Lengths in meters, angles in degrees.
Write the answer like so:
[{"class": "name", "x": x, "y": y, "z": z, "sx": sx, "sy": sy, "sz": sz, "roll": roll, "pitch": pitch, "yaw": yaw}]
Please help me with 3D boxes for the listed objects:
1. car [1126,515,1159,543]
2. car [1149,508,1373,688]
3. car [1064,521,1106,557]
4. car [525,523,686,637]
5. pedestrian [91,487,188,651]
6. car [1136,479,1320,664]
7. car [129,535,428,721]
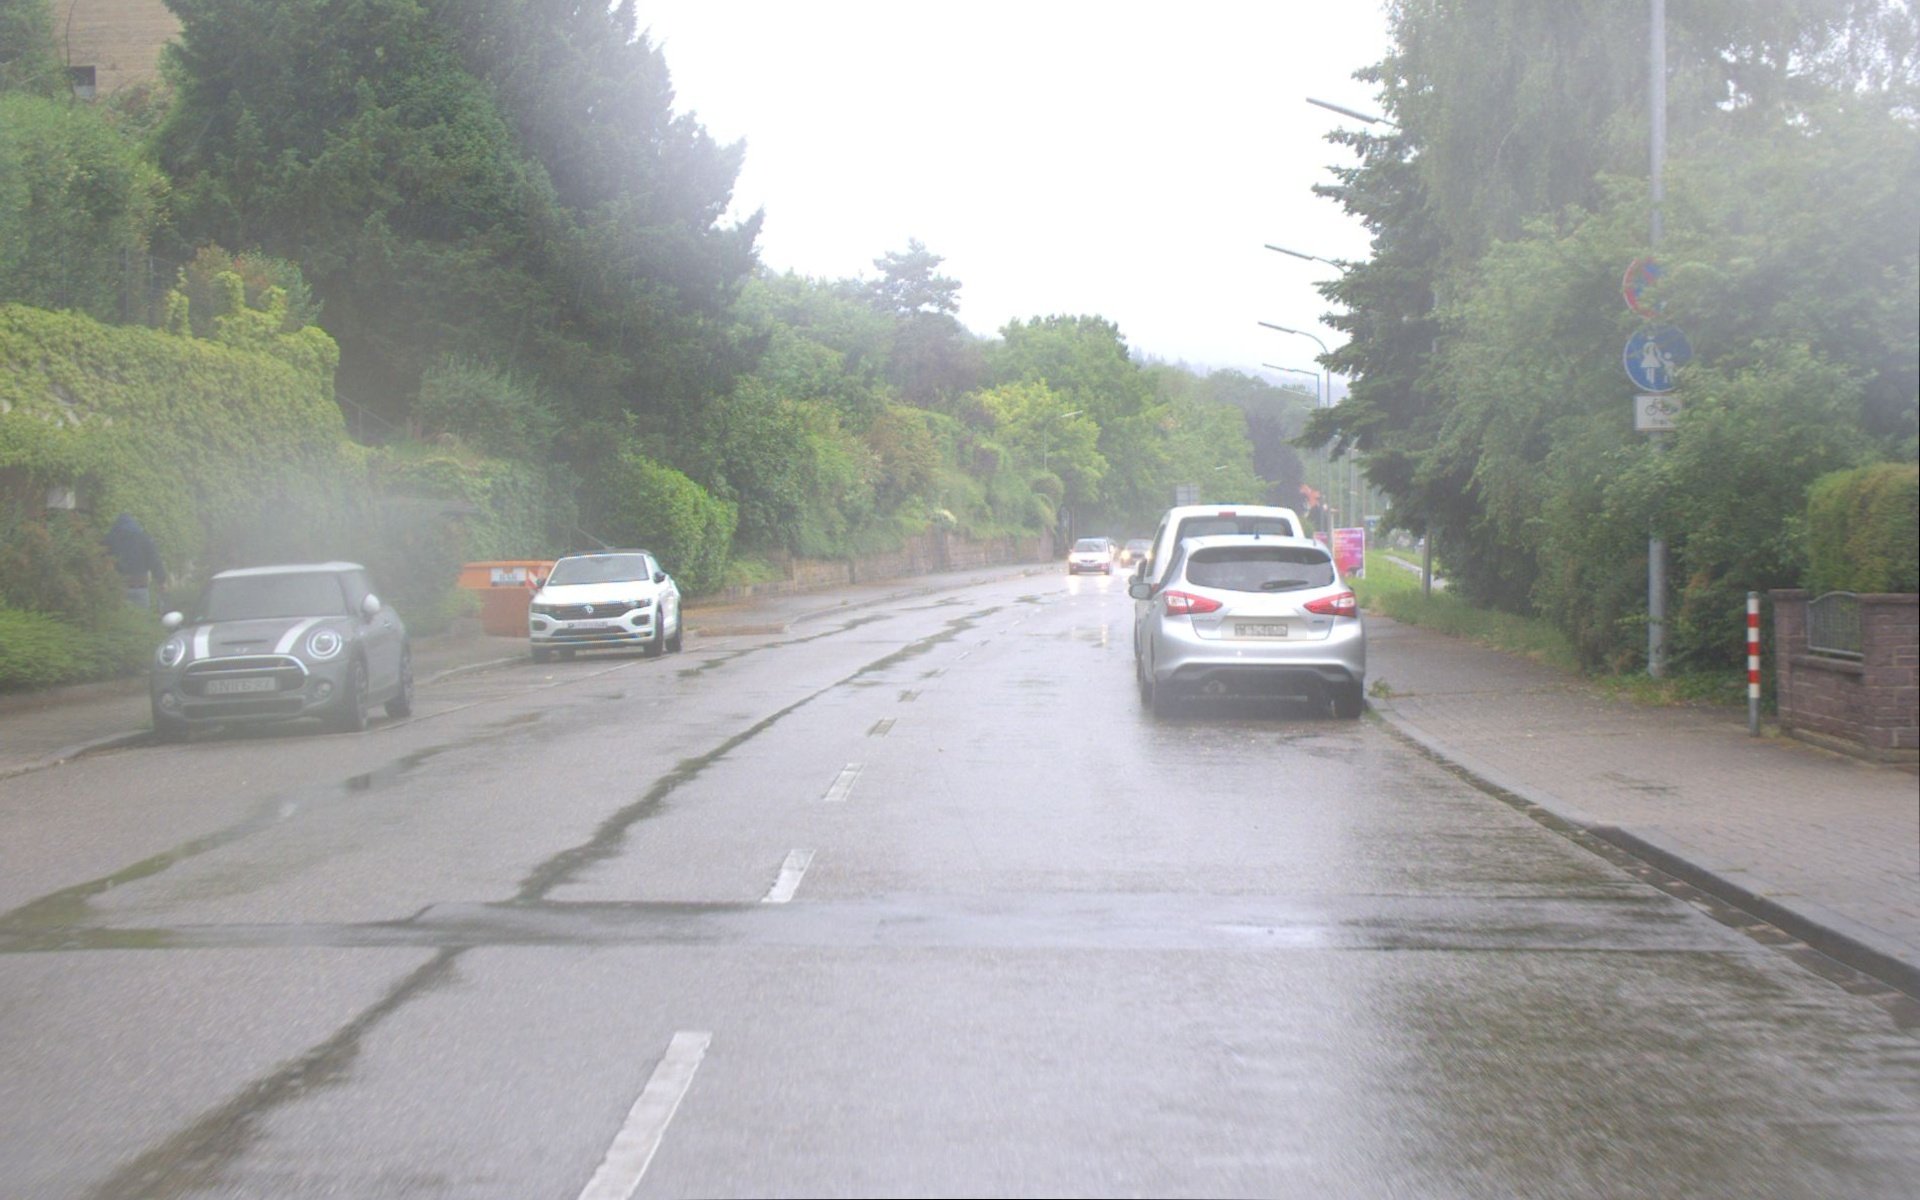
[{"class": "car", "x": 9.044, "y": -3.511, "z": 170.364, "sx": 1.654, "sy": 1.347, "sz": 3.987, "roll": 0, "pitch": 1, "yaw": 3}, {"class": "car", "x": 2.543, "y": -0.049, "z": 29.860, "sx": 1.789, "sy": 1.455, "sz": 4.308, "roll": 0, "pitch": 1, "yaw": 3}, {"class": "car", "x": 5.153, "y": -2.522, "z": 142.393, "sx": 1.662, "sy": 1.456, "sz": 3.662, "roll": 0, "pitch": 1, "yaw": 1}, {"class": "car", "x": -4.964, "y": -0.305, "z": 48.595, "sx": 1.756, "sy": 1.492, "sz": 4.220, "roll": -2, "pitch": 1, "yaw": 1}, {"class": "pedestrian", "x": -9.538, "y": -0.359, "z": 39.981, "sx": 0.842, "sy": 1.874, "sz": 0.901, "roll": 1, "pitch": 1, "yaw": 4}, {"class": "car", "x": 2.714, "y": -0.311, "z": 35.496, "sx": 1.785, "sy": 1.784, "sz": 4.361, "roll": 0, "pitch": 1, "yaw": 3}, {"class": "car", "x": -5.749, "y": 0.190, "z": 29.420, "sx": 1.756, "sy": 1.397, "sz": 3.770, "roll": -3, "pitch": 1, "yaw": 0}]
